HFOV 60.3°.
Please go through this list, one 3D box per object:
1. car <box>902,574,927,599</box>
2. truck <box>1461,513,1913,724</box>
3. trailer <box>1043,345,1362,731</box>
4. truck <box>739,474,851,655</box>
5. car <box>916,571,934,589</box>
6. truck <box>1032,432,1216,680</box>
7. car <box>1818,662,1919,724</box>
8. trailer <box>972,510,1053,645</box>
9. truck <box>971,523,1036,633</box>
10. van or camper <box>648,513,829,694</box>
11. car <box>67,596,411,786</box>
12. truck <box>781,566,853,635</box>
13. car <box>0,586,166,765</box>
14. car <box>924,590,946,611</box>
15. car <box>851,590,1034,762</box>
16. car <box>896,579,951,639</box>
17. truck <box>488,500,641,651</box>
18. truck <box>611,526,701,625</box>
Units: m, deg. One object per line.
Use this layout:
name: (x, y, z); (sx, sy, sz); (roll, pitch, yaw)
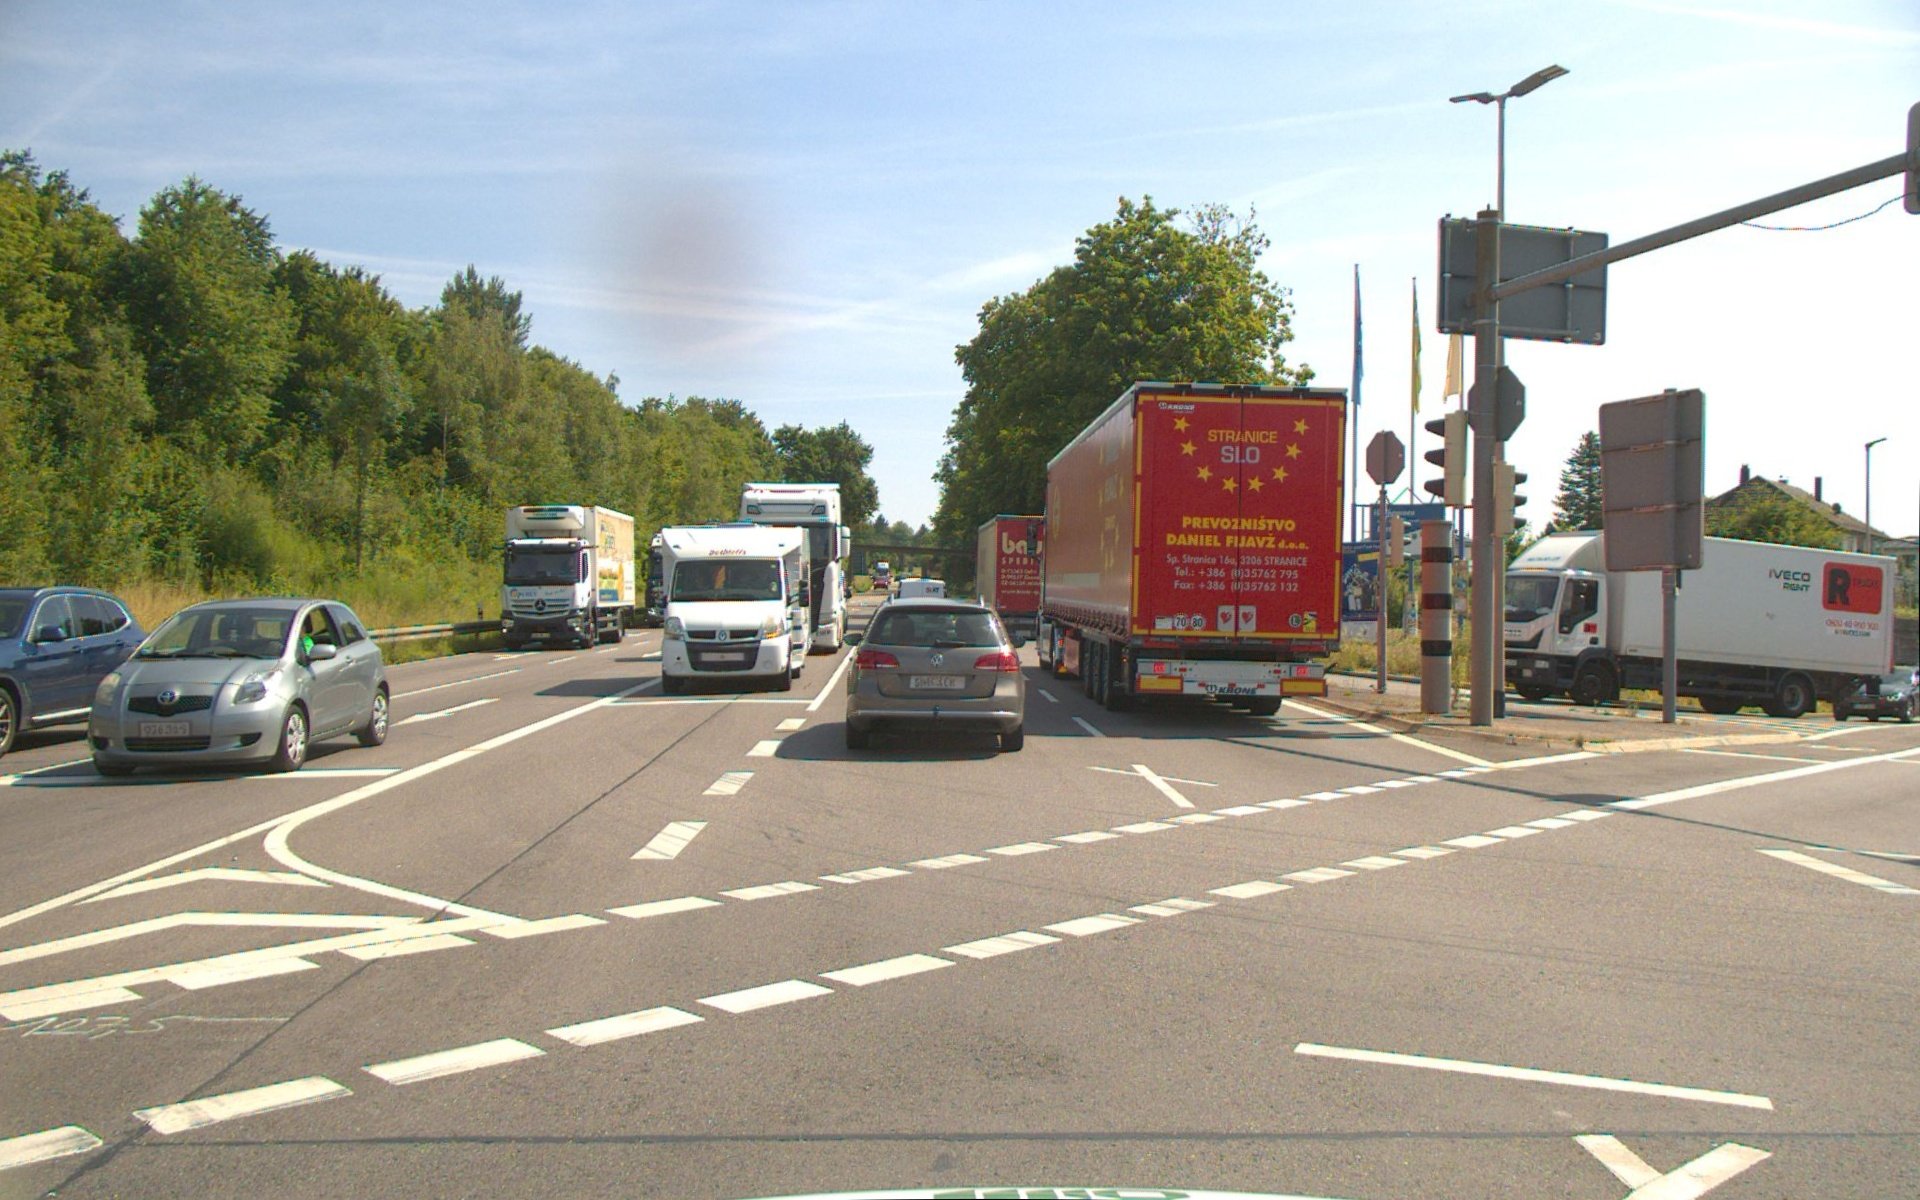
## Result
car: (-3.820, -1.102, 138.407); (1.954, 2.049, 3.998); (-1, 0, -3)
truck: (15.810, 0.479, 35.890); (9.524, 3.691, 2.752); (5, -2, -19)
trailer: (3.167, -0.733, 25.891); (2.781, 4.441, 13.164); (1, 0, -1)
truck: (-4.005, -0.821, 41.310); (2.486, 4.159, 6.261); (-1, 0, -3)
car: (-4.145, -2.384, 194.329); (1.954, 2.049, 3.998); (-1, 0, -3)
truck: (3.060, -0.787, 32.426); (2.812, 4.356, 5.837); (1, 0, -1)
car: (23.795, 2.377, 42.966); (1.961, 1.486, 4.301); (-1, -2, 37)
trailer: (1.723, -0.734, 59.752); (2.346, 4.317, 13.076); (-1, 0, -1)
truck: (1.693, -0.838, 66.381); (2.357, 4.200, 5.520); (-1, 0, -1)
van or camper: (-3.548, 0.041, 27.895); (2.283, 2.646, 6.976); (-1, 0, -2)
car: (-6.587, 0.742, 15.601); (1.691, 1.528, 3.997); (-1, 0, -4)
truck: (-5.013, 0.016, 58.870); (2.182, 2.307, 6.497); (-1, 0, -2)
car: (-10.236, 0.732, 17.281); (1.954, 1.706, 4.305); (-1, 0, -3)
car: (-2.465, 0.018, 162.498); (1.954, 2.049, 3.998); (-1, 0, -3)
car: (-0.253, 0.690, 17.126); (1.657, 1.539, 3.998); (-1, 0, -3)
car: (-1.264, 0.296, 56.216); (1.735, 1.970, 3.975); (-1, 0, -3)
truck: (-11.666, -0.681, 49.736); (2.674, 4.069, 9.614); (-1, 0, -3)
truck: (-13.666, -1.042, 75.092); (2.773, 4.188, 9.676); (-1, 0, -3)
